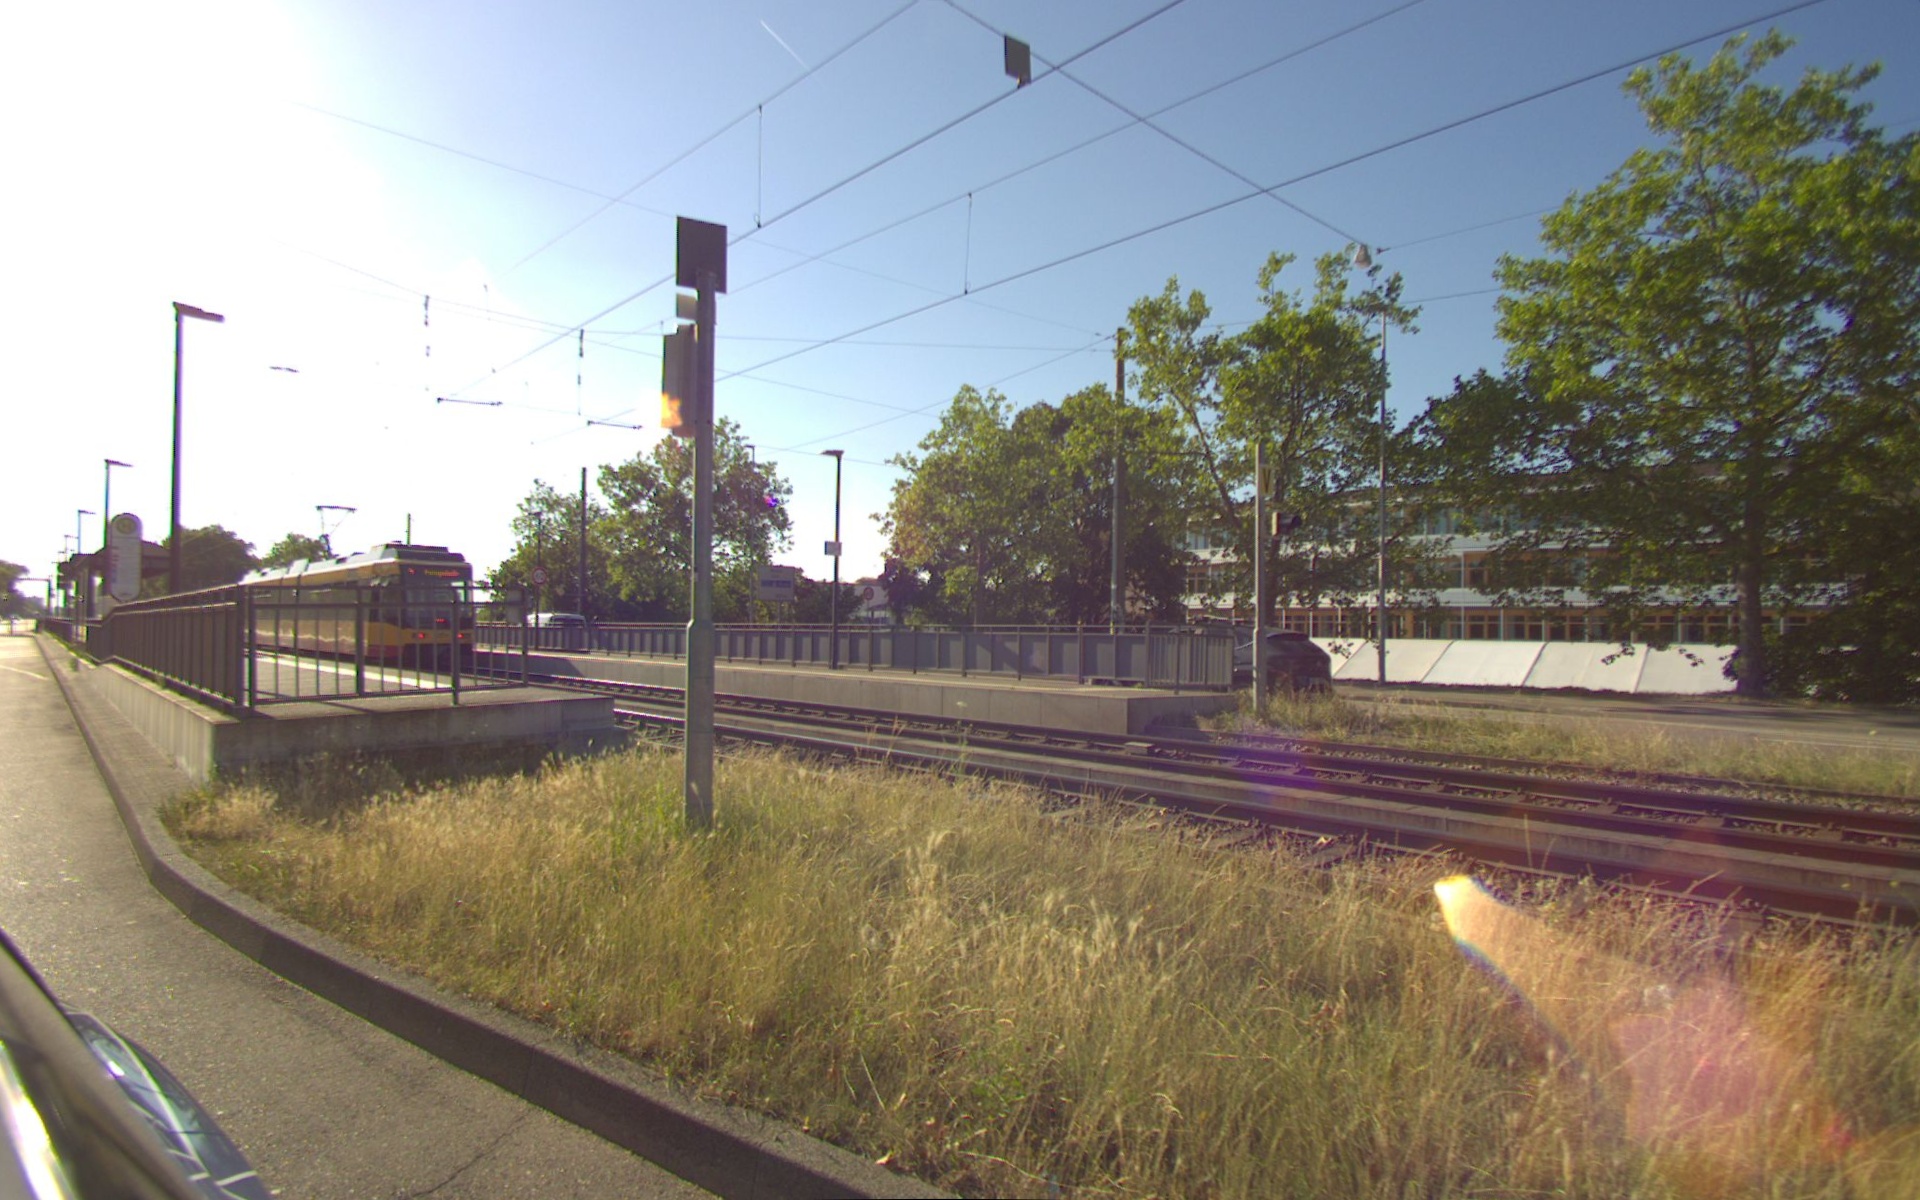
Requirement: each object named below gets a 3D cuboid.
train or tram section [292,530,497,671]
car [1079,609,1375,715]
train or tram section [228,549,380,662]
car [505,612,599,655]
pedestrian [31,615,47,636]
[{"bbox_3d":[-18.516,0.140,32.427,2.793,3.715,12.982,0,-1,-43],"label":"train or tram section"},{"bbox_3d":[4.434,0.970,17.355,1.970,1.573,4.547,1,-2,-43],"label":"car"},{"bbox_3d":[-28.289,0.333,43.053,2.793,4.036,15.891,0,-1,-43],"label":"train or tram section"},{"bbox_3d":[-15.883,1.291,39.286,1.970,1.573,4.339,1,-2,-43],"label":"car"},{"bbox_3d":[-72.396,1.981,79.540,0.879,1.657,0.987,2,-3,-45],"label":"pedestrian"}]
